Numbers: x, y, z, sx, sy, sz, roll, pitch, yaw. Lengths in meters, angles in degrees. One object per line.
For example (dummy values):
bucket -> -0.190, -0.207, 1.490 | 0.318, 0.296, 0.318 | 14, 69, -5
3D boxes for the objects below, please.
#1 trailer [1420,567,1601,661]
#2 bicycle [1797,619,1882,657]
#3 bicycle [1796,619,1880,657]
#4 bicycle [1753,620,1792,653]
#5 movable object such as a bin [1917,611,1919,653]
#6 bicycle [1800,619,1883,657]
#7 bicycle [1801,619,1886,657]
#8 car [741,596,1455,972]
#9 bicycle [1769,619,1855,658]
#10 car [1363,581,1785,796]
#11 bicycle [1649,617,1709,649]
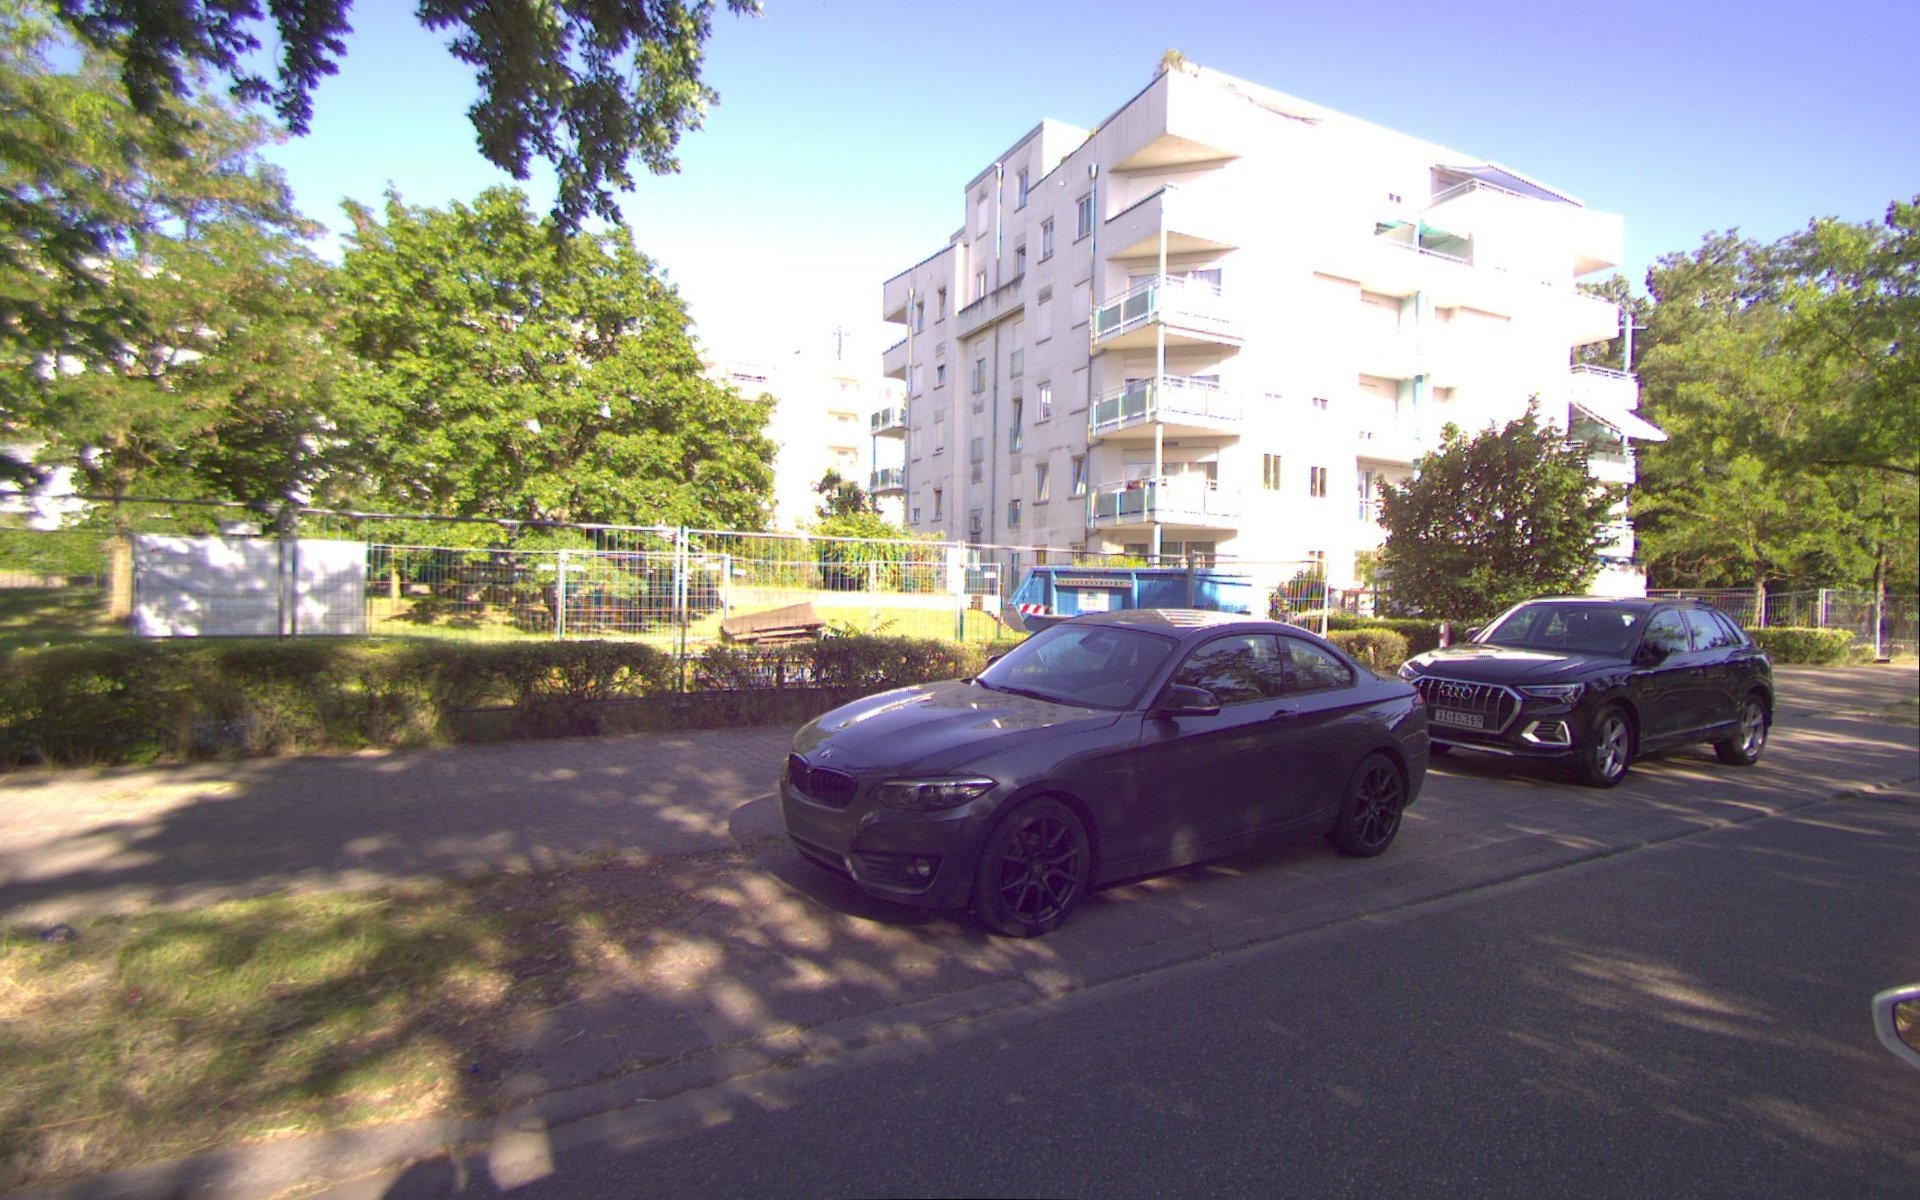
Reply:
trailer -> 13.744, 0.326, 25.041 | 4.291, 2.149, 1.856 | 1, 2, -28
bicycle -> 26.092, 1.121, 29.825 | 0.398, 1.040, 1.841 | 2, 0, -43
bicycle -> 25.752, 1.109, 29.484 | 0.398, 1.040, 1.820 | 2, 0, -43
bicycle -> 26.500, 1.206, 32.762 | 1.680, 1.040, 0.397 | 2, 0, -30
movable object such as a bin -> 33.734, 1.109, 34.077 | 1.300, 1.455, 1.273 | 1, 0, -3
bicycle -> 26.409, 1.127, 30.109 | 0.398, 1.040, 1.820 | 2, 0, -43
bicycle -> 26.750, 1.139, 30.436 | 0.398, 1.040, 1.896 | 2, 0, -43
car -> 0.979, 0.763, 5.930 | 4.096, 1.452, 1.704 | 1, 2, -35
bicycle -> 24.483, 1.097, 28.883 | 0.398, 1.040, 1.851 | 2, 0, -43
car -> 6.032, 0.711, 9.748 | 4.173, 1.643, 1.766 | 1, 2, -32
bicycle -> 24.859, 1.148, 34.772 | 0.395, 1.040, 1.690 | 2, 0, -25
